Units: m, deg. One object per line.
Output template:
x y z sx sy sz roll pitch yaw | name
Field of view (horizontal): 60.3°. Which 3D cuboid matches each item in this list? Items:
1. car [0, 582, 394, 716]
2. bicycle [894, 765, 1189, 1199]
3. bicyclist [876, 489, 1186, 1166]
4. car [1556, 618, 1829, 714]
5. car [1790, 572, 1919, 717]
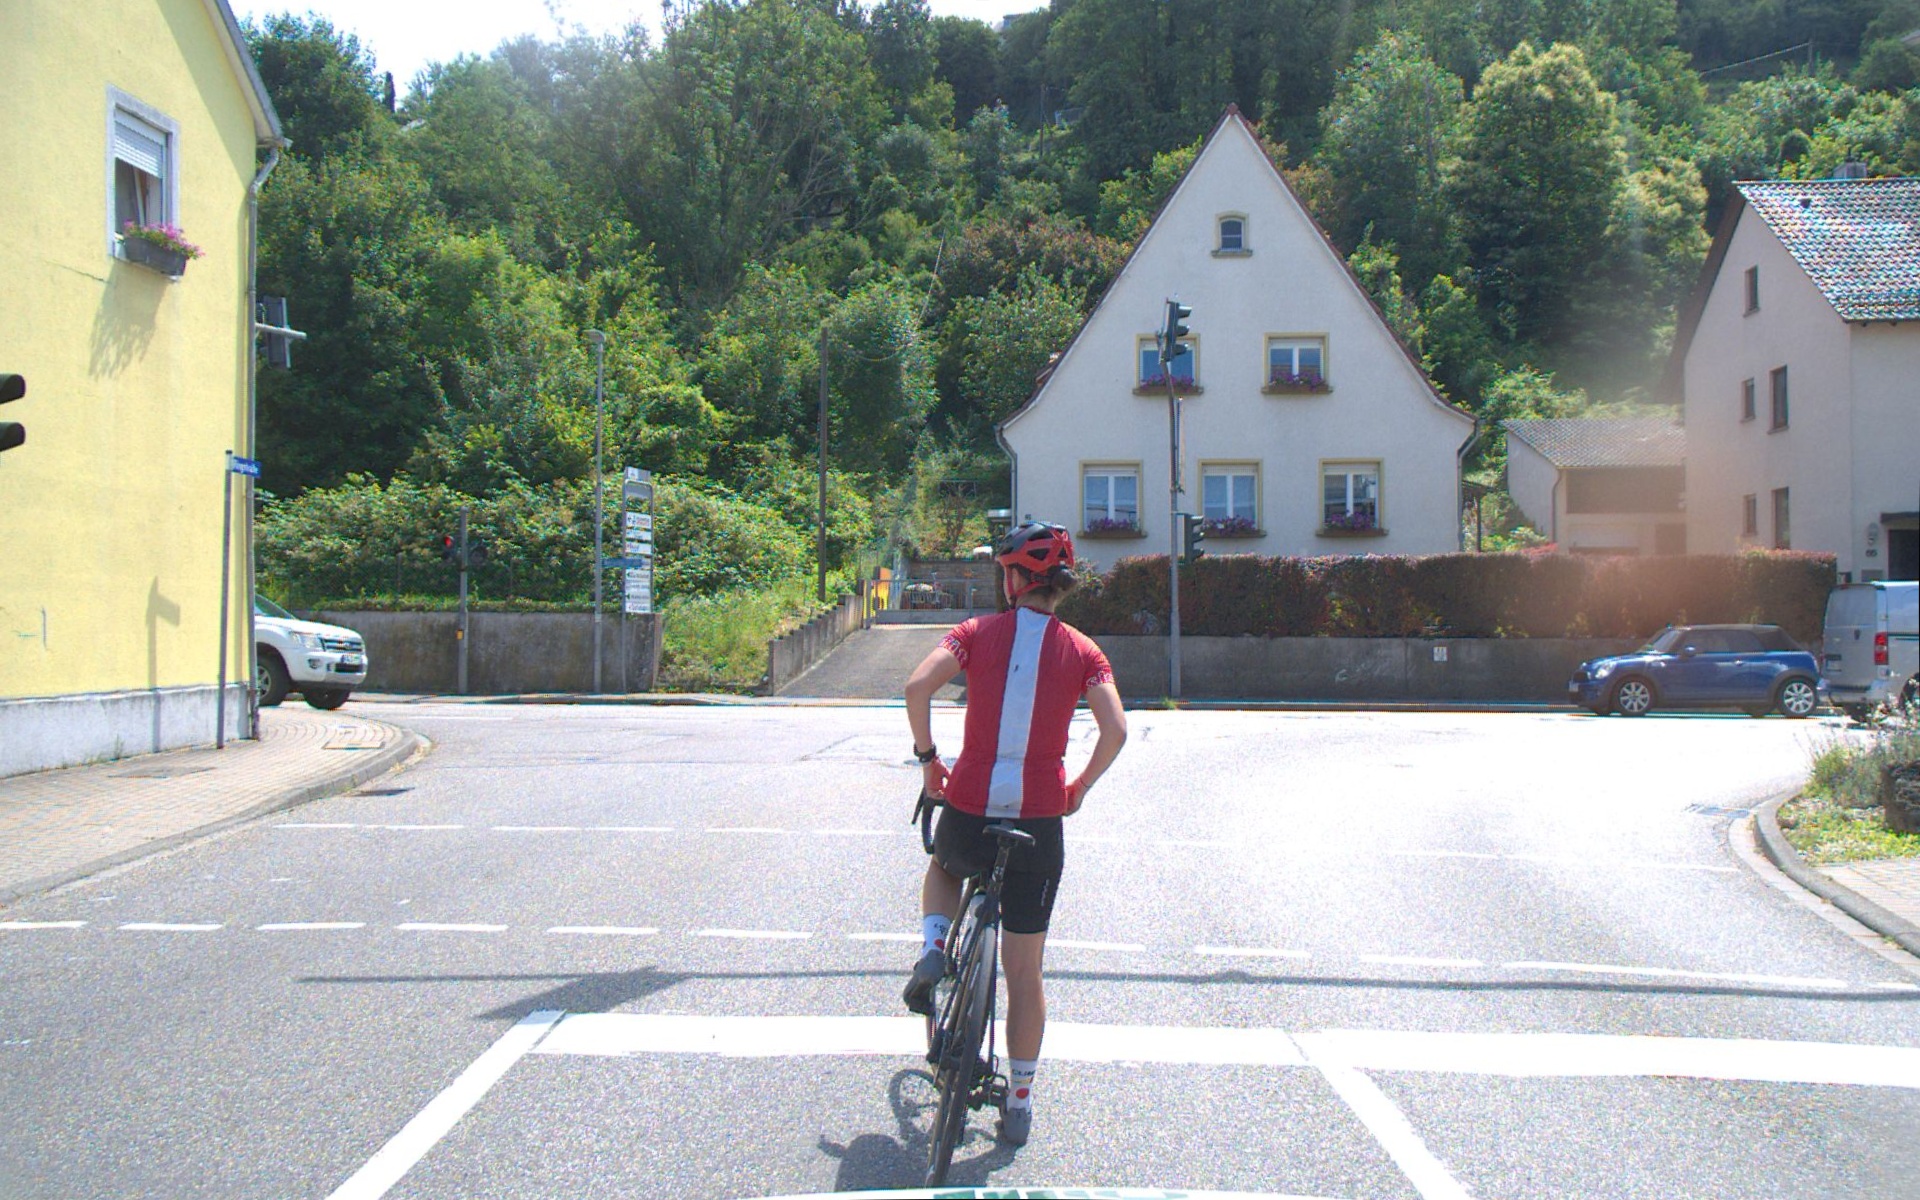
-11.256 0.697 24.319 5.184 1.807 1.980 -1 0 8 | car
0.151 0.996 4.506 0.617 0.920 1.656 1 0 -3 | bicycle
0.160 0.578 4.600 0.745 1.693 0.868 1 0 -3 | bicyclist
11.320 1.031 25.749 3.533 1.387 1.645 1 -3 3 | car
13.953 0.618 22.017 4.771 1.854 2.000 0 -2 3 | car
